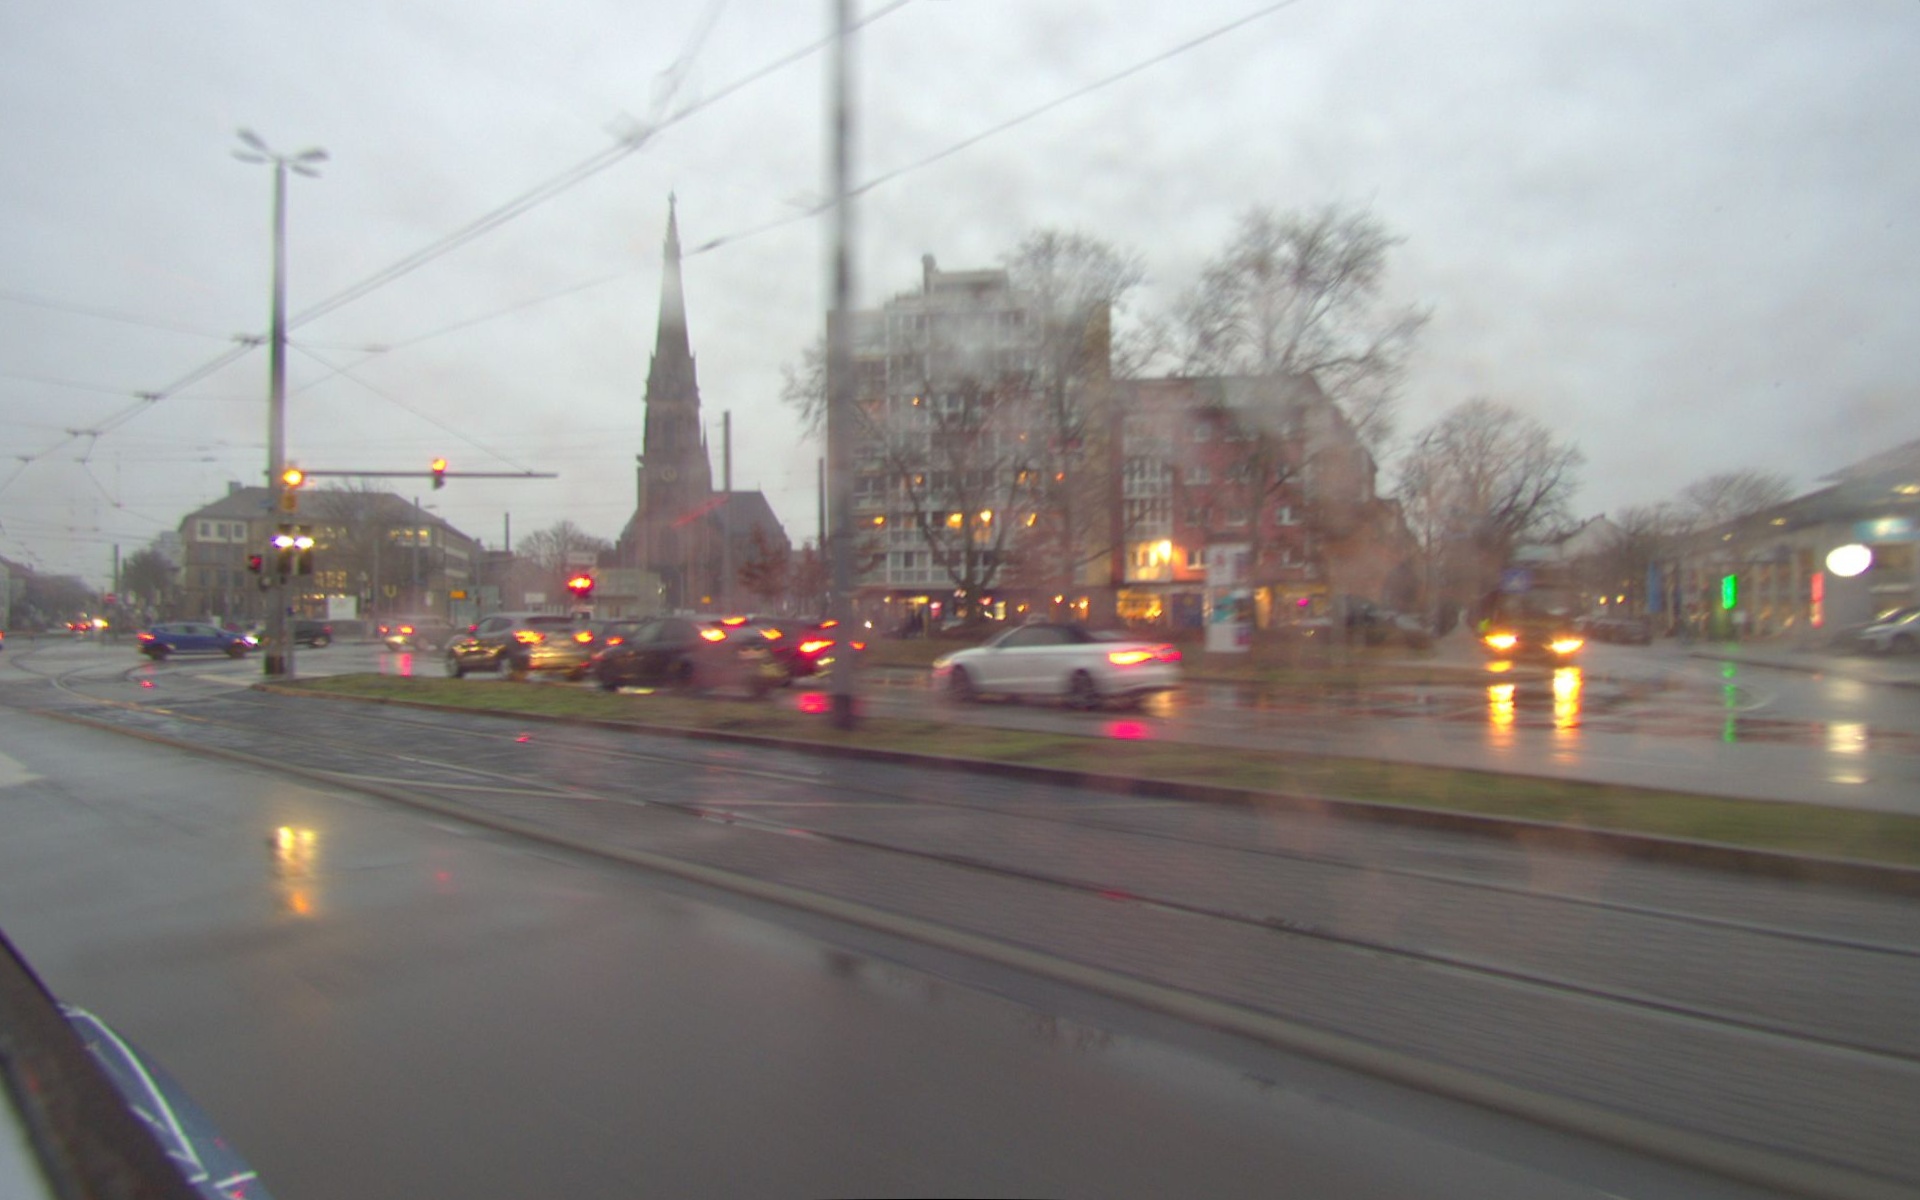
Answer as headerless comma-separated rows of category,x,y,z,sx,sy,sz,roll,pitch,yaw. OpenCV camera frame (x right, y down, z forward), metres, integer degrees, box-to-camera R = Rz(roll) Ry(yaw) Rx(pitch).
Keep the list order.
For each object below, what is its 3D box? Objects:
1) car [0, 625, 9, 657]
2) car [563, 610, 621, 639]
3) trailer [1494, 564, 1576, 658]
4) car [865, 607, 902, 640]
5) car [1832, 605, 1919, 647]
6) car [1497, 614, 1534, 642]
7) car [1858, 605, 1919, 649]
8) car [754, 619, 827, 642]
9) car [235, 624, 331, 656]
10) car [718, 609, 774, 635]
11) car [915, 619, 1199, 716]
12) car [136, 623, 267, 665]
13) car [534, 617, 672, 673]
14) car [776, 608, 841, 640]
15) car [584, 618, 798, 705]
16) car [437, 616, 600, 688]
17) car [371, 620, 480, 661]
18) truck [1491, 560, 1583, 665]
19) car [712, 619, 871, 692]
car,-53.624,2.211,54.209,4.444,1.710,1.989,-1,-1,17
car,-23.693,1.564,65.316,1.803,1.807,4.559,-1,-1,5
trailer,24.820,0.400,44.027,2.625,3.443,14.910,-1,0,29
car,-5.003,1.504,65.649,1.967,2.029,4.009,0,0,-10
car,35.533,0.959,37.633,4.402,1.534,1.866,-1,0,30
car,35.518,1.777,64.771,1.991,1.674,3.961,-1,-1,29
car,34.485,0.926,35.289,4.402,1.534,1.866,-1,0,30
car,-9.988,1.792,59.862,3.946,1.320,1.999,-1,0,2
car,-36.469,2.131,54.579,1.998,1.564,3.947,-1,0,40
car,-17.003,1.715,80.439,3.931,2.029,2.007,0,0,-26
car,1.559,1.056,17.399,4.586,1.432,1.973,-1,-1,41
car,-30.728,1.757,41.156,4.194,1.580,1.830,0,-1,-35
car,-9.573,1.151,26.989,3.997,1.368,1.706,-1,-1,41
car,-9.931,1.560,66.646,3.946,2.029,1.999,-1,0,2
car,-4.980,1.069,18.501,3.998,1.401,1.852,-1,-3,41
car,-10.135,1.122,23.133,3.997,1.497,1.880,-1,-1,40
car,-25.630,1.916,48.692,1.815,1.807,4.529,-1,-1,24
truck,20.941,0.414,36.932,2.646,3.443,6.690,-1,0,29
car,-3.712,1.152,21.982,3.470,1.429,1.584,-1,-1,41
